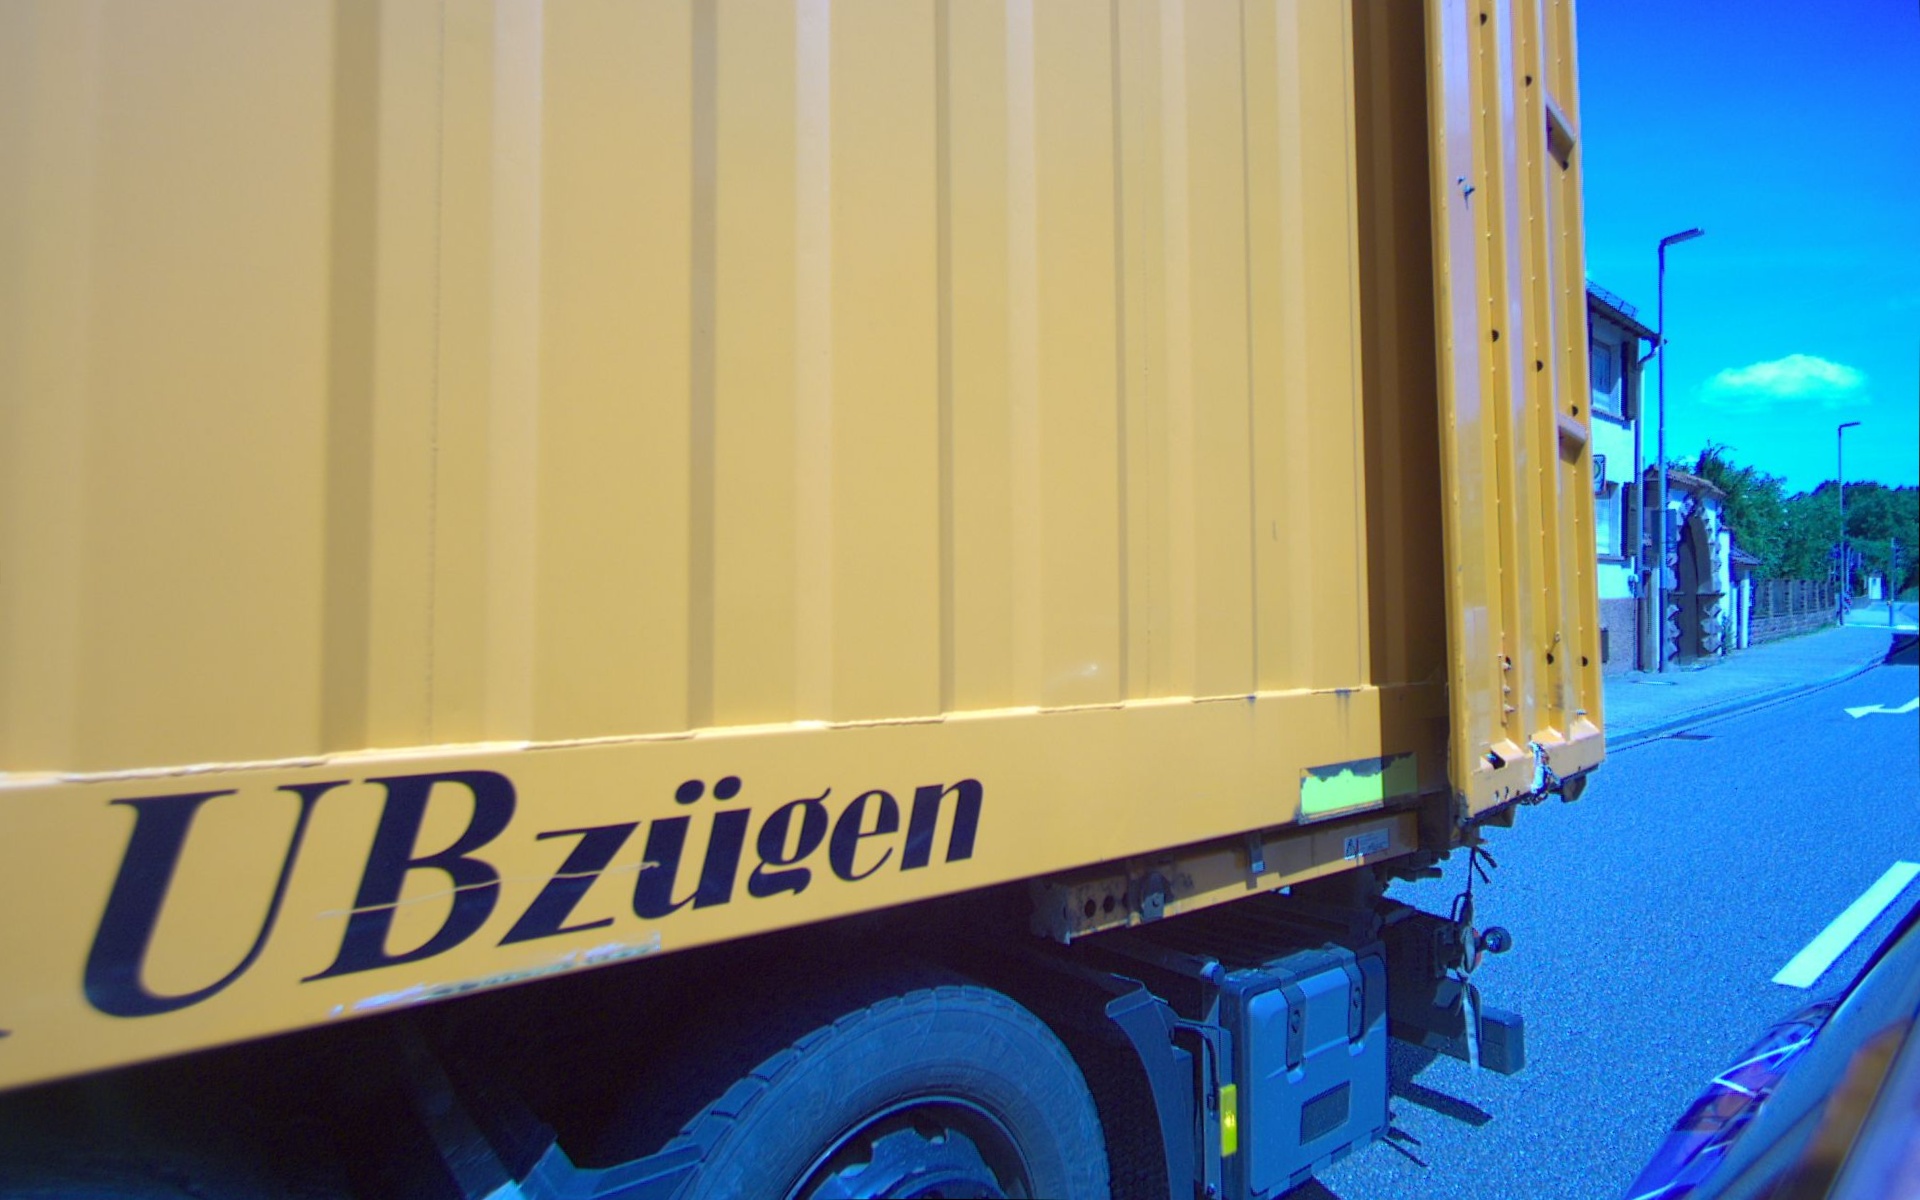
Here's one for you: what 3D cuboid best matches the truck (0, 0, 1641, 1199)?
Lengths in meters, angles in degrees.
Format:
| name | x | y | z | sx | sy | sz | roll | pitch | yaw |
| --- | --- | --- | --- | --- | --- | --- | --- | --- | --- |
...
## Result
| name | x | y | z | sx | sy | sz | roll | pitch | yaw |
| --- | --- | --- | --- | --- | --- | --- | --- | --- | --- |
| truck | -2.671 | -0.526 | 1.049 | 9.808 | 3.995 | 2.615 | 0 | 0 | -38 |
